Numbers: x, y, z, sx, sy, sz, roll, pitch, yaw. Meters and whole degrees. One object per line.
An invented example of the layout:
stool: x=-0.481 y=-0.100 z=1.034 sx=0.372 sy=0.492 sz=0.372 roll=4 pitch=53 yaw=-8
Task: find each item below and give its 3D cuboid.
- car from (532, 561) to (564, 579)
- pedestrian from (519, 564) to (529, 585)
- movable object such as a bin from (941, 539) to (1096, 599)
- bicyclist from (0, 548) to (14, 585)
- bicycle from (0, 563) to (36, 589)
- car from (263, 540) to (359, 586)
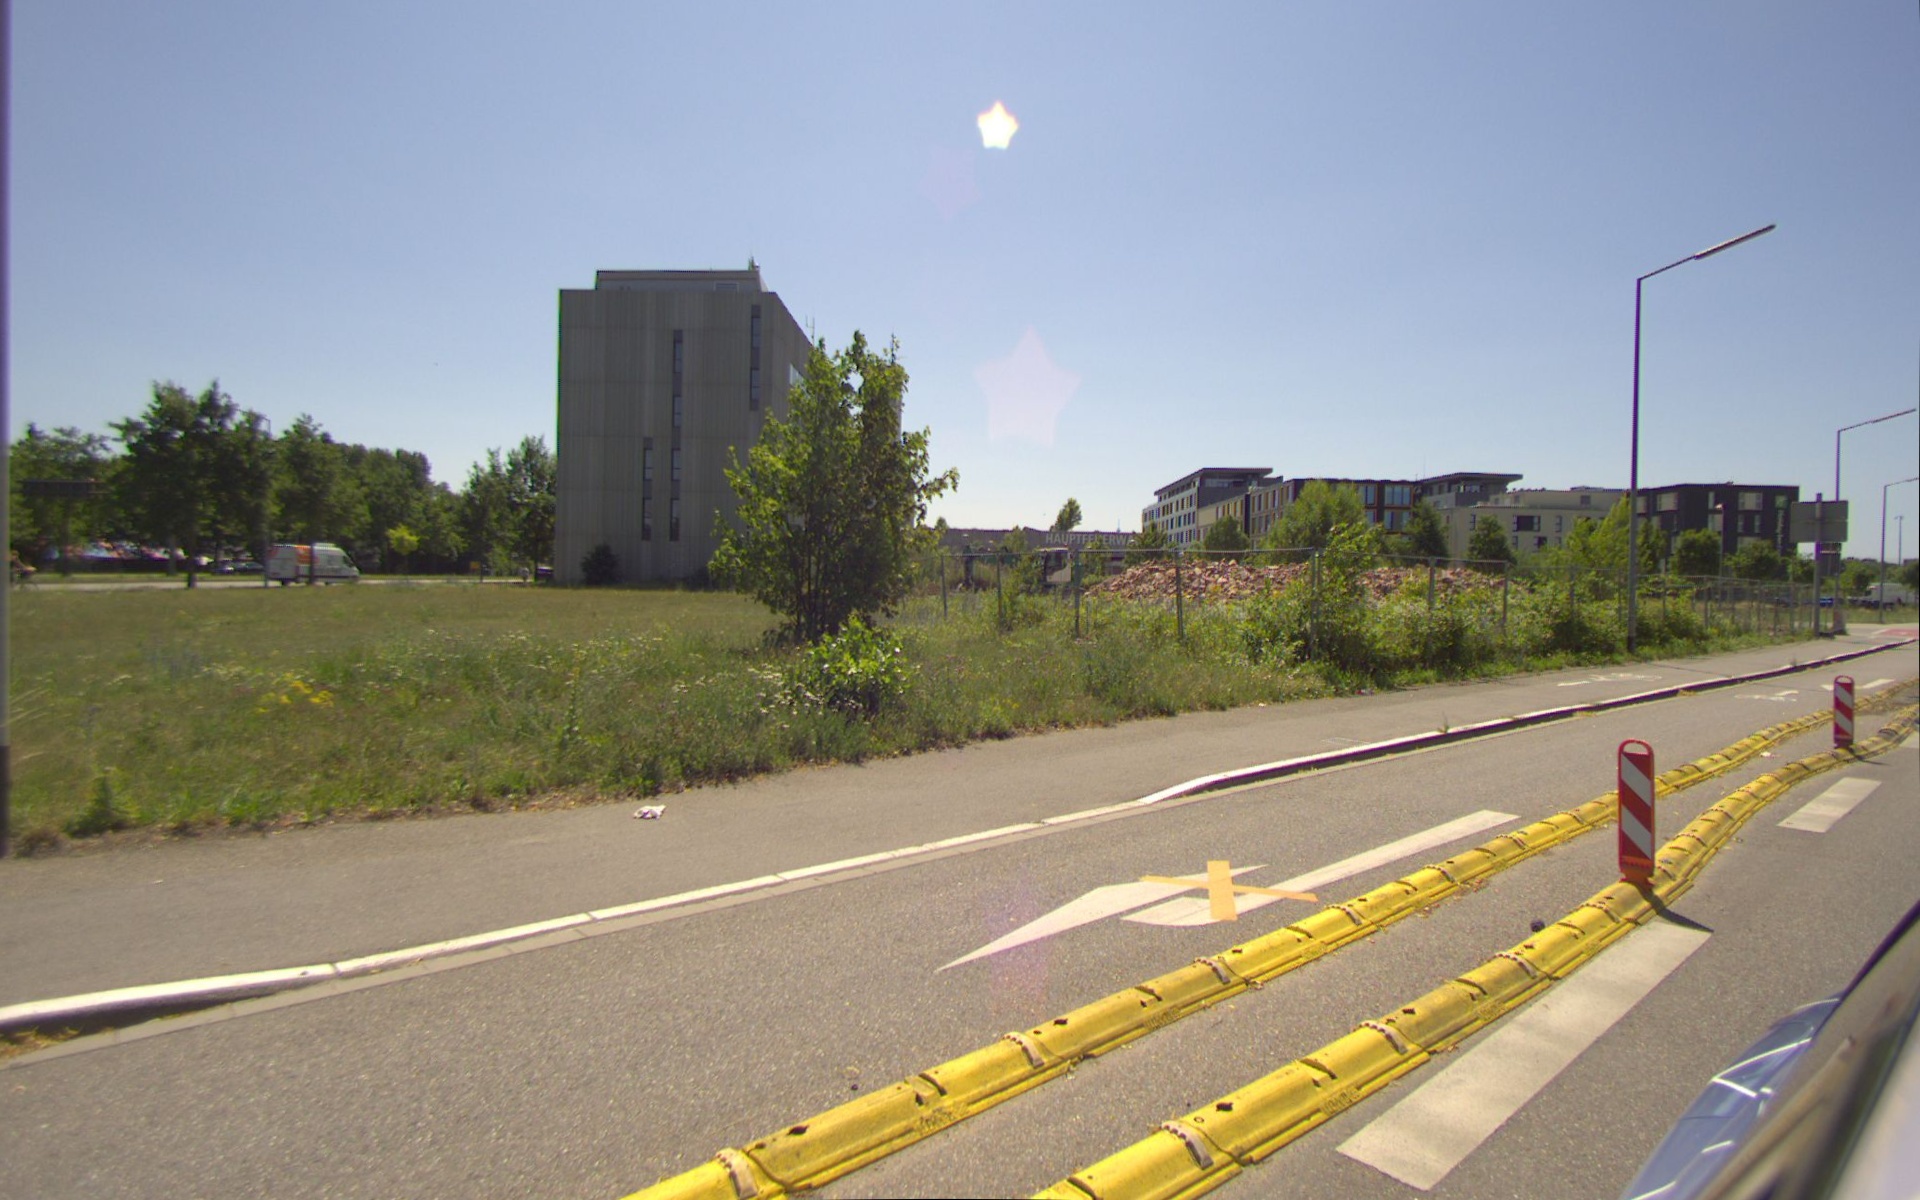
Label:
car: x=-41.422 y=-2.986 z=101.850 sx=1.694 sy=1.571 sz=4.002 roll=3 pitch=0 yaw=-3
pedestrian: x=-33.114 y=-1.917 z=76.865 sx=0.652 sy=1.611 sz=0.557 roll=0 pitch=0 yaw=-15
movable object such as a bin: x=3.072 y=-1.593 z=53.270 sx=7.537 sy=2.952 sz=3.242 roll=-1 pitch=0 yaw=-26
bicyclist: x=-34.541 y=-1.195 z=36.567 sx=0.373 sy=1.336 sz=0.355 roll=0 pitch=0 yaw=9
bicycle: x=-34.523 y=-0.866 z=36.753 sx=0.363 sy=0.895 sz=1.591 roll=0 pitch=0 yaw=7
car: x=-42.671 y=-2.361 z=66.774 sx=1.962 sy=2.863 sz=6.885 roll=0 pitch=0 yaw=0
